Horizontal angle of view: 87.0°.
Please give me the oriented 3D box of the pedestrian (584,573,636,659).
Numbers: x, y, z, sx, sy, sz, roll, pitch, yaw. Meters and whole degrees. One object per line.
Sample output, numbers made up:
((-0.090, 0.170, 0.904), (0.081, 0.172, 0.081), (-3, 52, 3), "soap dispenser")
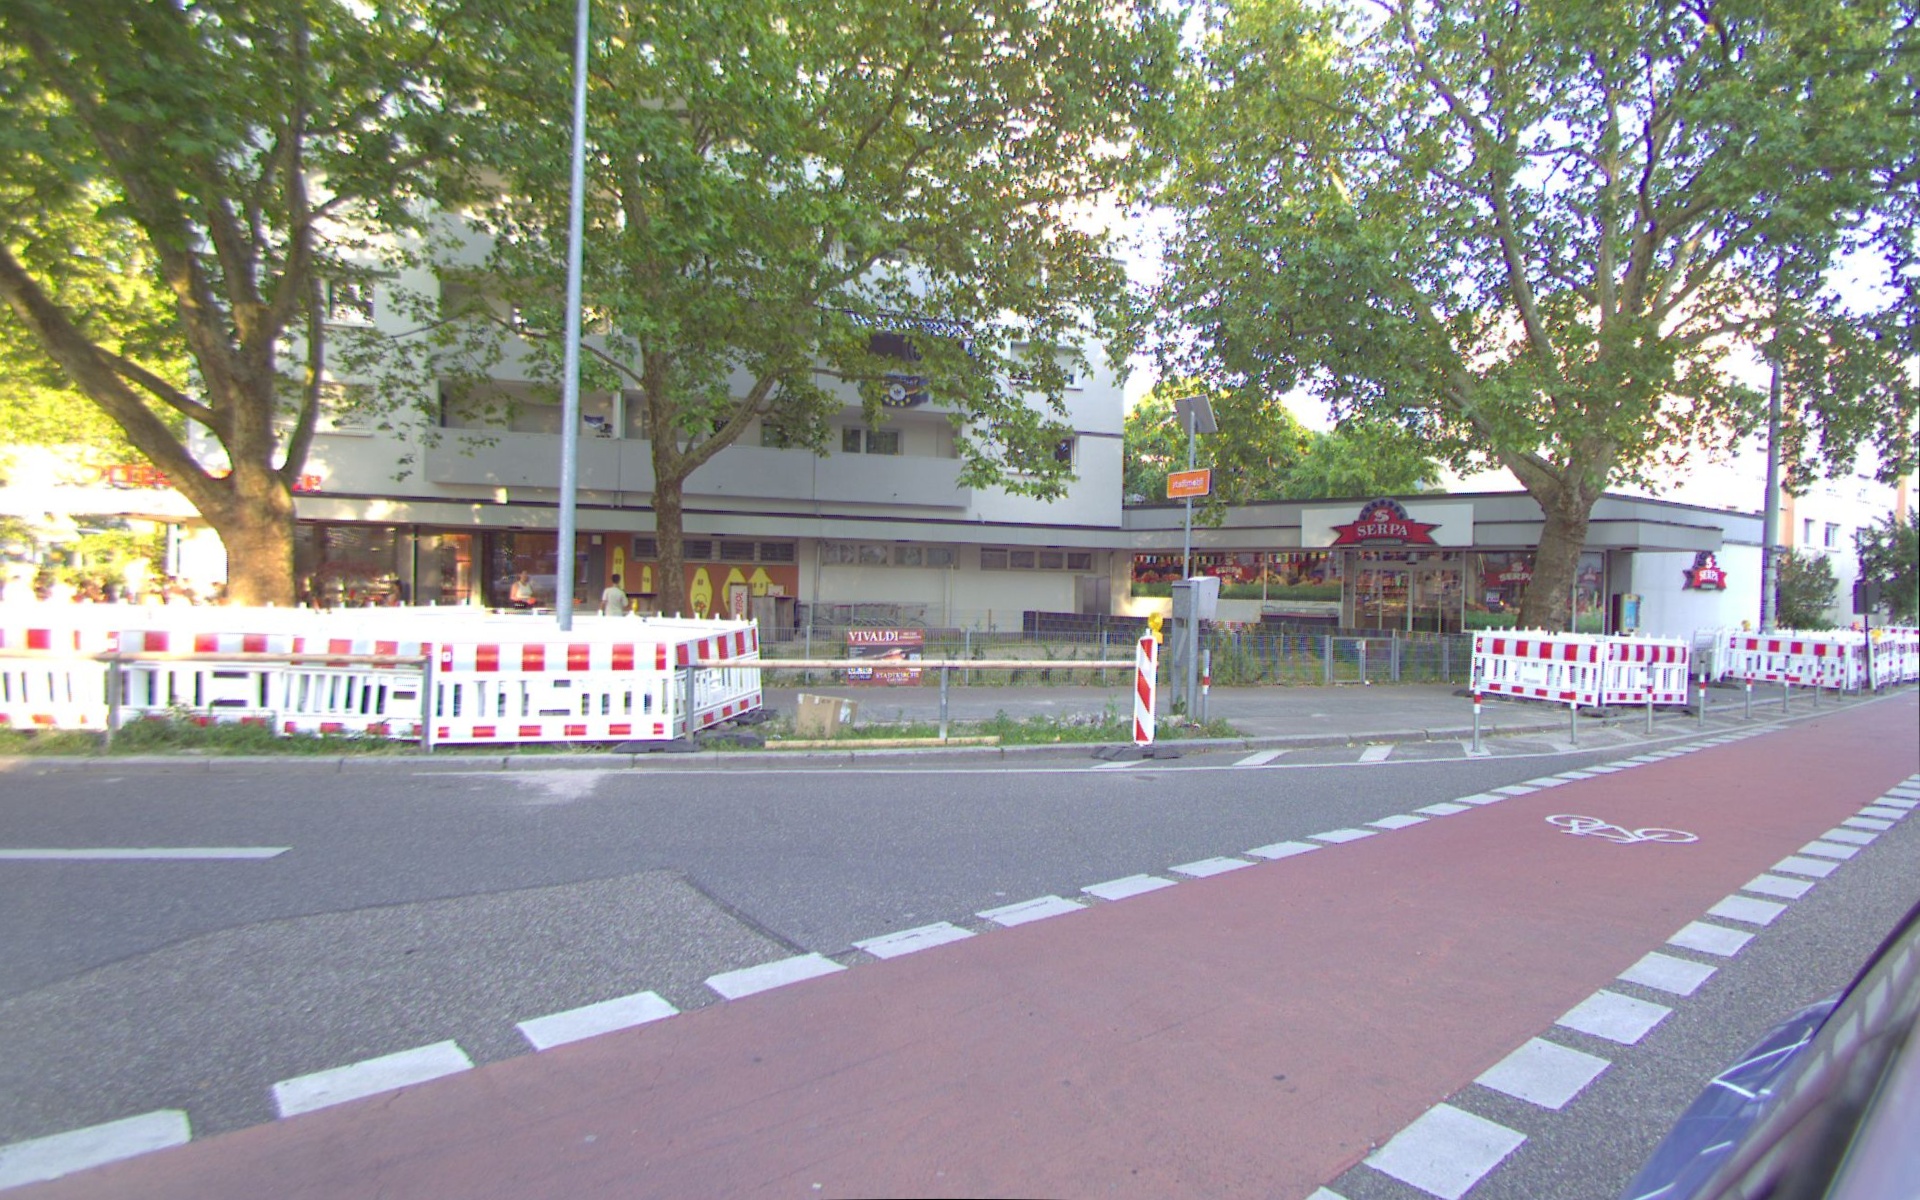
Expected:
((-6.710, 0.301, 19.415), (0.639, 1.608, 0.735), (0, 0, 43), "pedestrian")

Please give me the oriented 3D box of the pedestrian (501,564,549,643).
((-9.062, 0.077, 21.089), (0.639, 1.608, 0.735), (0, 0, 43), "pedestrian")
